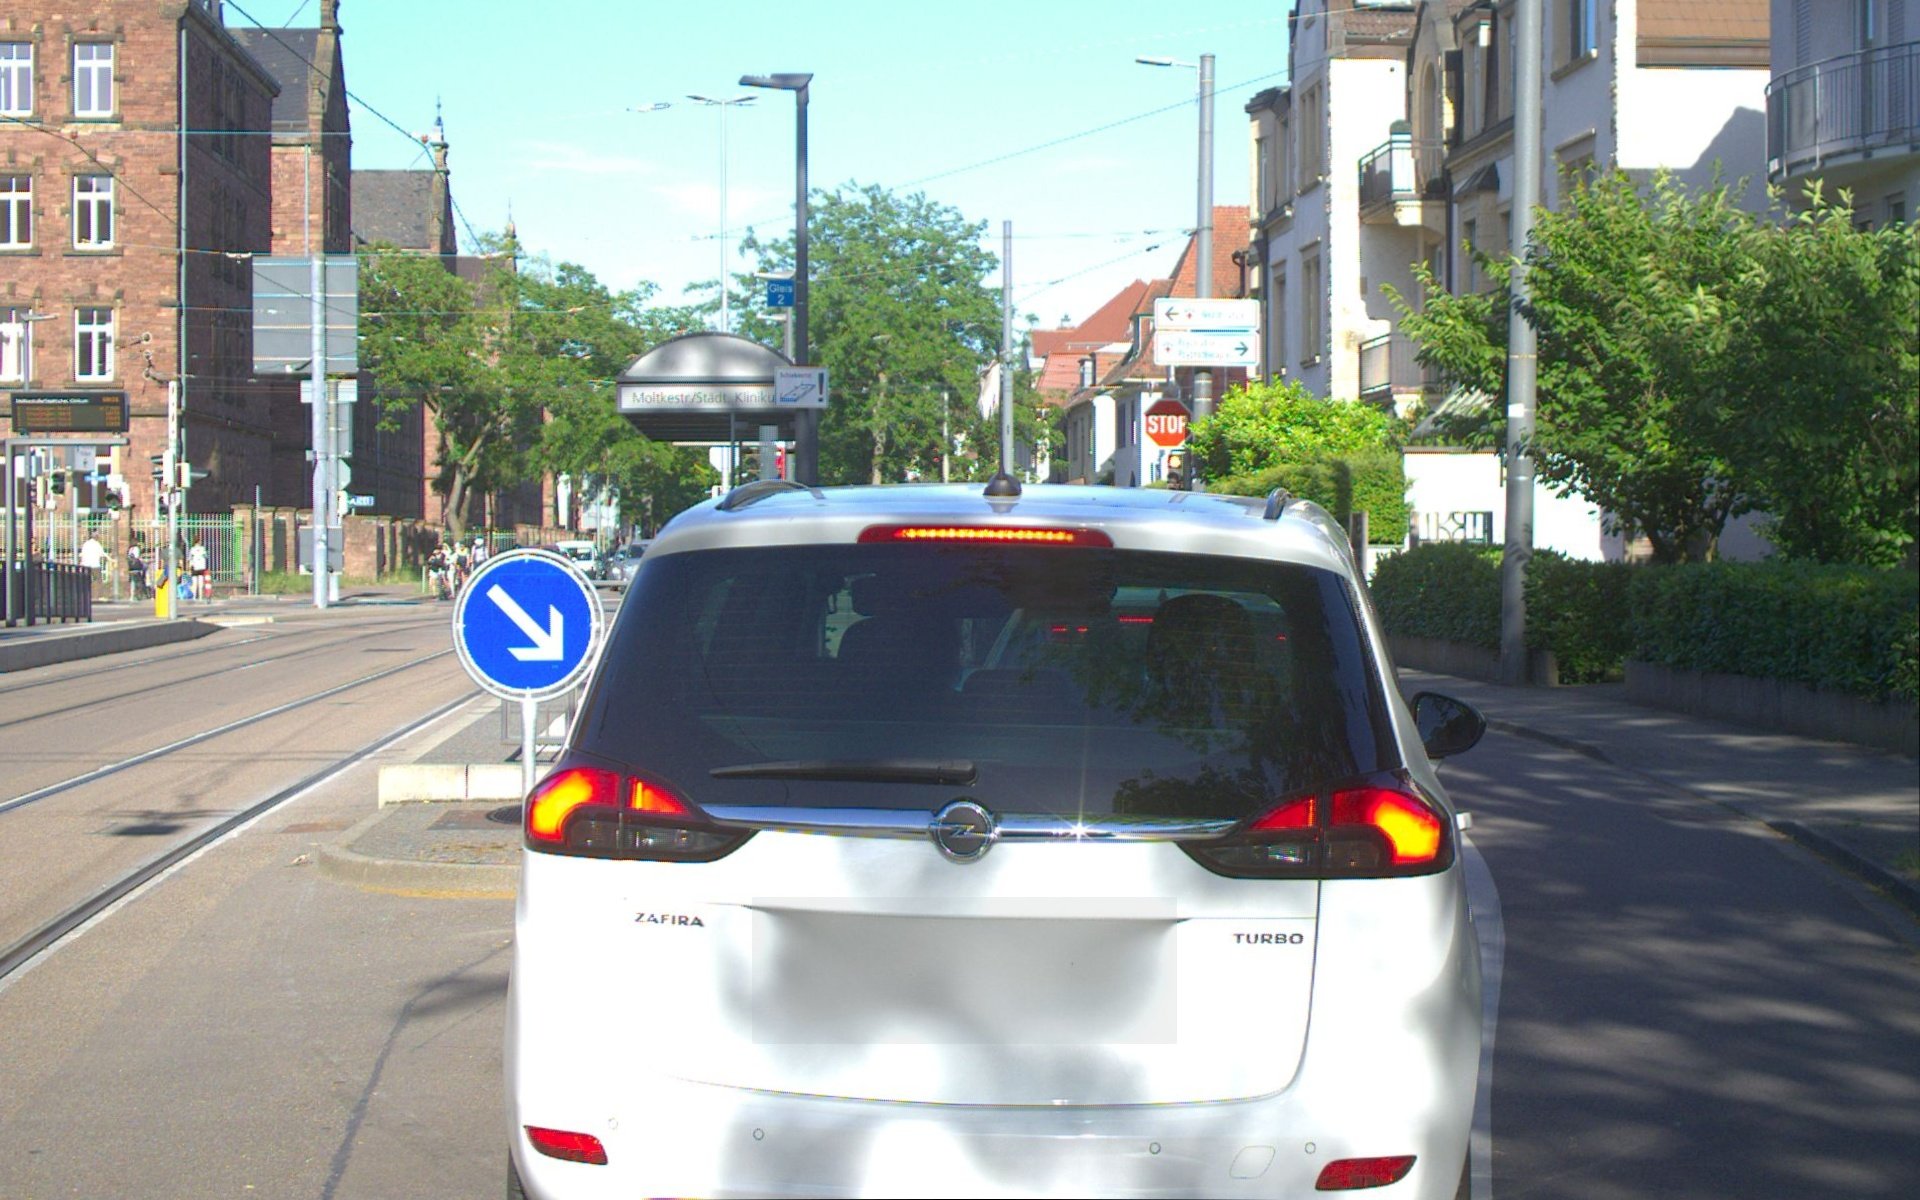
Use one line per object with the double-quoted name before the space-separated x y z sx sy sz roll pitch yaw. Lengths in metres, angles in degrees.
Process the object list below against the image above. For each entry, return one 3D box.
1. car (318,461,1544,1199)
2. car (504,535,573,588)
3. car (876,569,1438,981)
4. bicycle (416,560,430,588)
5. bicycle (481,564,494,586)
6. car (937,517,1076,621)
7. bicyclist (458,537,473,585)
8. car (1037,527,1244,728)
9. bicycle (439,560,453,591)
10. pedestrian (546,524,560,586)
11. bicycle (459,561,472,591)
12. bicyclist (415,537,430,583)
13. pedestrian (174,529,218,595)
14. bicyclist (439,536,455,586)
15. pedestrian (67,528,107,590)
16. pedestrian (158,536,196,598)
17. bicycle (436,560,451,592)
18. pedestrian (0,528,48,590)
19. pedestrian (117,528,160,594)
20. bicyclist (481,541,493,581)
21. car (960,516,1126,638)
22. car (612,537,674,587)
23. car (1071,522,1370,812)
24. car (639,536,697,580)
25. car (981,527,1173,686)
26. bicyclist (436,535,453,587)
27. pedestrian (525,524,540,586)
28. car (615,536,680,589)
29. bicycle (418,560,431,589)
"car" 0.136 0.584 7.600 1.994 1.639 3.992 1 1 6
"car" -13.118 -1.220 107.085 1.993 1.623 4.001 0 1 -5
"car" 0.745 0.591 13.981 1.953 1.392 4.000 0 1 2
"bicycle" -17.988 -0.865 115.138 0.344 0.946 0.997 1 0 -4
"bicycle" -15.353 -0.810 111.665 0.344 0.722 0.997 1 1 -4
"car" 0.666 -0.485 51.758 1.993 1.497 4.000 0 1 -1
"bicyclist" -15.690 -1.238 109.148 0.444 1.548 0.496 0 1 -4
"car" 1.493 0.181 29.254 1.637 1.595 3.854 0 1 2
"bicycle" -15.931 -0.751 106.613 0.344 0.946 0.997 1 0 -4
"pedestrian" -13.289 -1.466 112.254 0.444 2.007 0.496 0 1 -4
"bicycle" -15.700 -0.774 109.162 0.344 0.946 0.997 1 0 -4
"bicyclist" -17.984 -1.331 115.094 0.444 1.548 0.496 0 1 -4
"pedestrian" -19.769 -0.988 88.959 0.895 1.678 1.029 1 0 -1
"bicyclist" -15.894 -1.216 106.563 0.444 1.548 0.496 0 1 -4
"pedestrian" -22.558 -1.046 88.827 0.802 1.583 0.935 1 0 -3
"pedestrian" -21.745 -0.912 95.447 0.735 1.708 0.705 1 0 22
"bicycle" -15.485 -0.710 103.080 0.344 0.946 1.160 1 0 -4
"pedestrian" -24.154 -1.067 88.693 0.804 1.583 0.932 1 1 44
"pedestrian" -21.163 -0.996 88.546 0.843 1.686 1.029 1 0 -1
"bicyclist" -15.351 -1.273 111.655 0.359 1.299 0.398 0 1 -4
"car" 1.019 -0.316 44.298 1.993 1.497 4.000 0 1 -1
"car" -10.535 -1.265 114.415 1.993 1.623 4.001 0 1 -5
"car" 1.492 0.333 20.826 1.637 1.595 3.854 0 1 2
"car" -11.083 -1.609 130.651 1.993 1.623 4.001 0 1 -2
"car" 1.175 0.027 36.177 1.830 1.574 4.010 0 1 -1
"bicyclist" -15.476 -1.178 103.281 0.444 1.548 0.743 0 1 -4
"pedestrian" -13.908 -1.471 111.922 0.444 2.007 0.496 0 1 -4
"car" -9.738 -1.183 107.308 1.993 1.623 4.001 0 1 -5
"bicycle" -17.649 -0.842 113.308 0.344 0.946 0.997 1 0 -4
